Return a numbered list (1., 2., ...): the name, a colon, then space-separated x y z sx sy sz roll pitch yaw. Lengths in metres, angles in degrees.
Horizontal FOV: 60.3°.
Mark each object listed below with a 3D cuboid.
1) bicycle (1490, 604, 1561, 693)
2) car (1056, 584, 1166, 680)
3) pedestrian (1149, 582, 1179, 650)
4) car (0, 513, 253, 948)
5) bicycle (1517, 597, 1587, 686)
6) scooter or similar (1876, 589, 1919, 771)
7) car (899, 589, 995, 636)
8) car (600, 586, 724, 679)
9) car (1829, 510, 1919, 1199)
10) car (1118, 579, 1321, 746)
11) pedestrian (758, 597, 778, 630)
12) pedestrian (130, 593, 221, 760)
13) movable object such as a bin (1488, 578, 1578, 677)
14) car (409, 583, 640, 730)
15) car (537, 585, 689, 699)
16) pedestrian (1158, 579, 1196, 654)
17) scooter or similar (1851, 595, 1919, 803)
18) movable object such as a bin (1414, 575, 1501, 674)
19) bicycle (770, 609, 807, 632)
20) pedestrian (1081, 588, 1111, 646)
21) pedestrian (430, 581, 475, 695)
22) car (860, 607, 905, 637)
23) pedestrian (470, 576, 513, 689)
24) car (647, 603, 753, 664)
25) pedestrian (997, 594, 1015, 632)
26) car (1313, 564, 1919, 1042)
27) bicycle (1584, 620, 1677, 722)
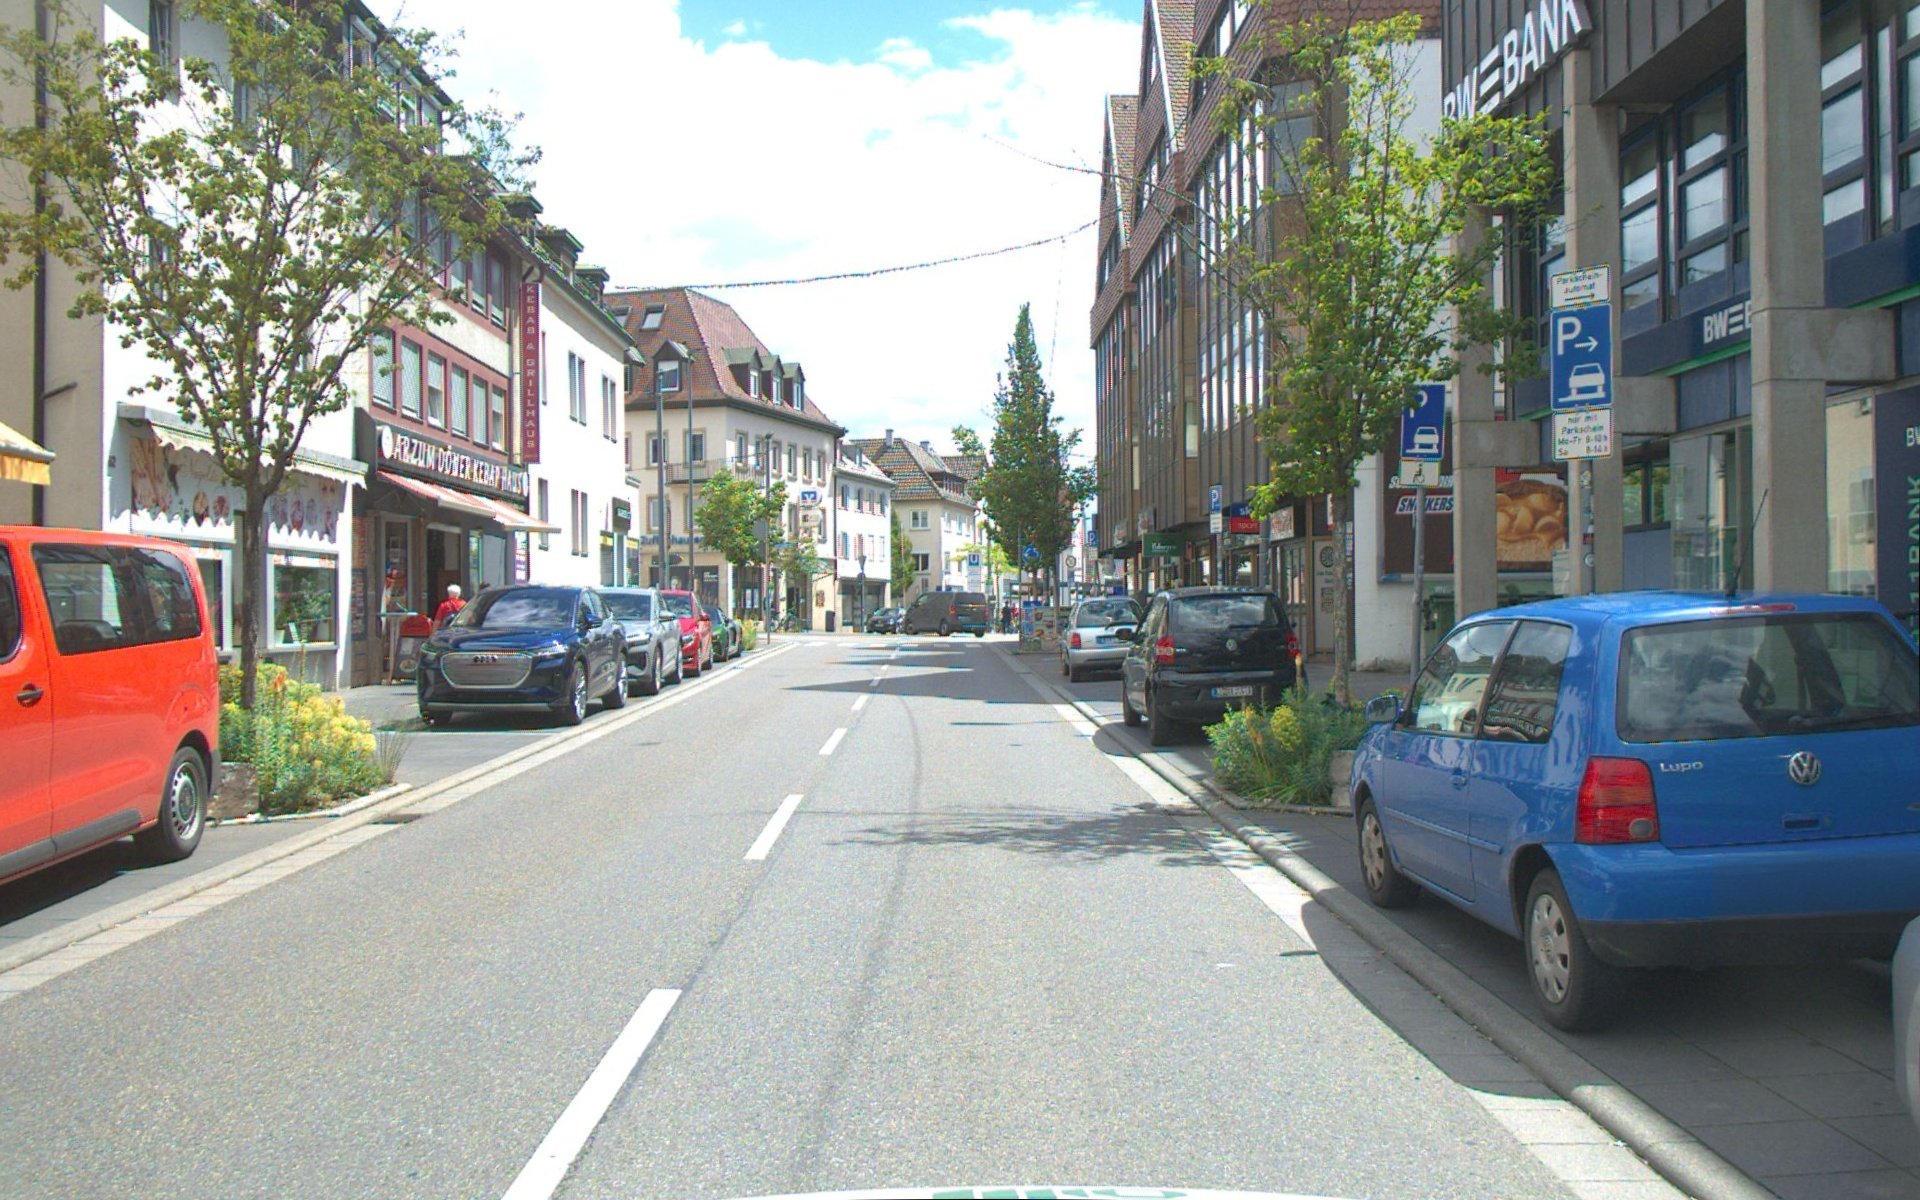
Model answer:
1. bicycle: 7.414 0.614 21.737 0.416 1.100 1.502 -2 1 1
2. car: 2.669 0.540 29.964 1.577 1.521 3.795 -4 0 0
3. pedestrian: 5.571 0.440 45.160 0.722 1.846 0.711 1 -1 -1
4. car: -5.163 0.570 7.865 1.780 1.922 4.836 1 -1 -4
5. bicycle: 7.840 0.538 21.954 0.416 1.139 1.502 1 -1 1
6. scooter or similar: 6.904 0.554 11.293 0.413 1.267 1.561 1 -1 -1
7. car: -0.590 0.524 70.202 2.017 1.881 4.953 1 -1 -28
8. car: -5.579 0.573 31.450 1.763 1.632 4.216 -1 0 -3
9. car: 3.021 0.630 1.954 1.686 1.604 4.429 -1 1 0
10. car: 2.672 0.596 17.789 1.576 1.559 3.795 -2 0 0
11. pedestrian: -9.269 0.659 79.781 0.613 1.559 0.858 0 -1 23
12. pedestrian: -7.957 0.766 16.798 0.576 1.661 0.661 1 -1 -1
13. movable object such as a bin: 9.220 0.442 26.659 1.118 1.554 1.032 1 -1 2
14. car: -5.262 0.622 20.571 1.763 1.626 4.388 0 0 -1
15. car: -5.405 0.607 26.245 1.764 1.632 4.348 -1 0 -4
16. pedestrian: 5.126 0.389 39.095 0.647 1.736 0.642 1 -1 -23
17. scooter or similar: 6.048 0.604 10.027 0.398 1.267 1.321 1 -1 -11
18. movable object such as a bin: 8.036 0.389 26.761 1.118 1.554 1.032 1 -1 2
19. bicycle: -7.900 0.944 76.284 1.597 1.049 0.568 1 -1 14
20. pedestrian: 3.899 0.491 47.560 0.768 1.644 0.800 1 -1 -1
21. pedestrian: -7.613 0.568 24.827 0.491 1.677 0.574 1 -1 -2
22. car: -4.175 1.184 89.225 1.590 1.512 3.808 1 -1 10
23. pedestrian: -7.053 0.483 24.903 0.503 1.677 0.471 1 -1 -3
24. car: -5.942 0.733 38.255 1.782 1.245 4.522 1 0 -1
25. pedestrian: 2.184 0.617 78.311 0.851 1.738 0.531 1 -1 2
26. car: 2.847 0.679 7.375 1.686 1.520 4.109 1 -1 0
27. bicycle: 7.870 0.807 19.469 0.416 1.139 1.741 1 -1 1
